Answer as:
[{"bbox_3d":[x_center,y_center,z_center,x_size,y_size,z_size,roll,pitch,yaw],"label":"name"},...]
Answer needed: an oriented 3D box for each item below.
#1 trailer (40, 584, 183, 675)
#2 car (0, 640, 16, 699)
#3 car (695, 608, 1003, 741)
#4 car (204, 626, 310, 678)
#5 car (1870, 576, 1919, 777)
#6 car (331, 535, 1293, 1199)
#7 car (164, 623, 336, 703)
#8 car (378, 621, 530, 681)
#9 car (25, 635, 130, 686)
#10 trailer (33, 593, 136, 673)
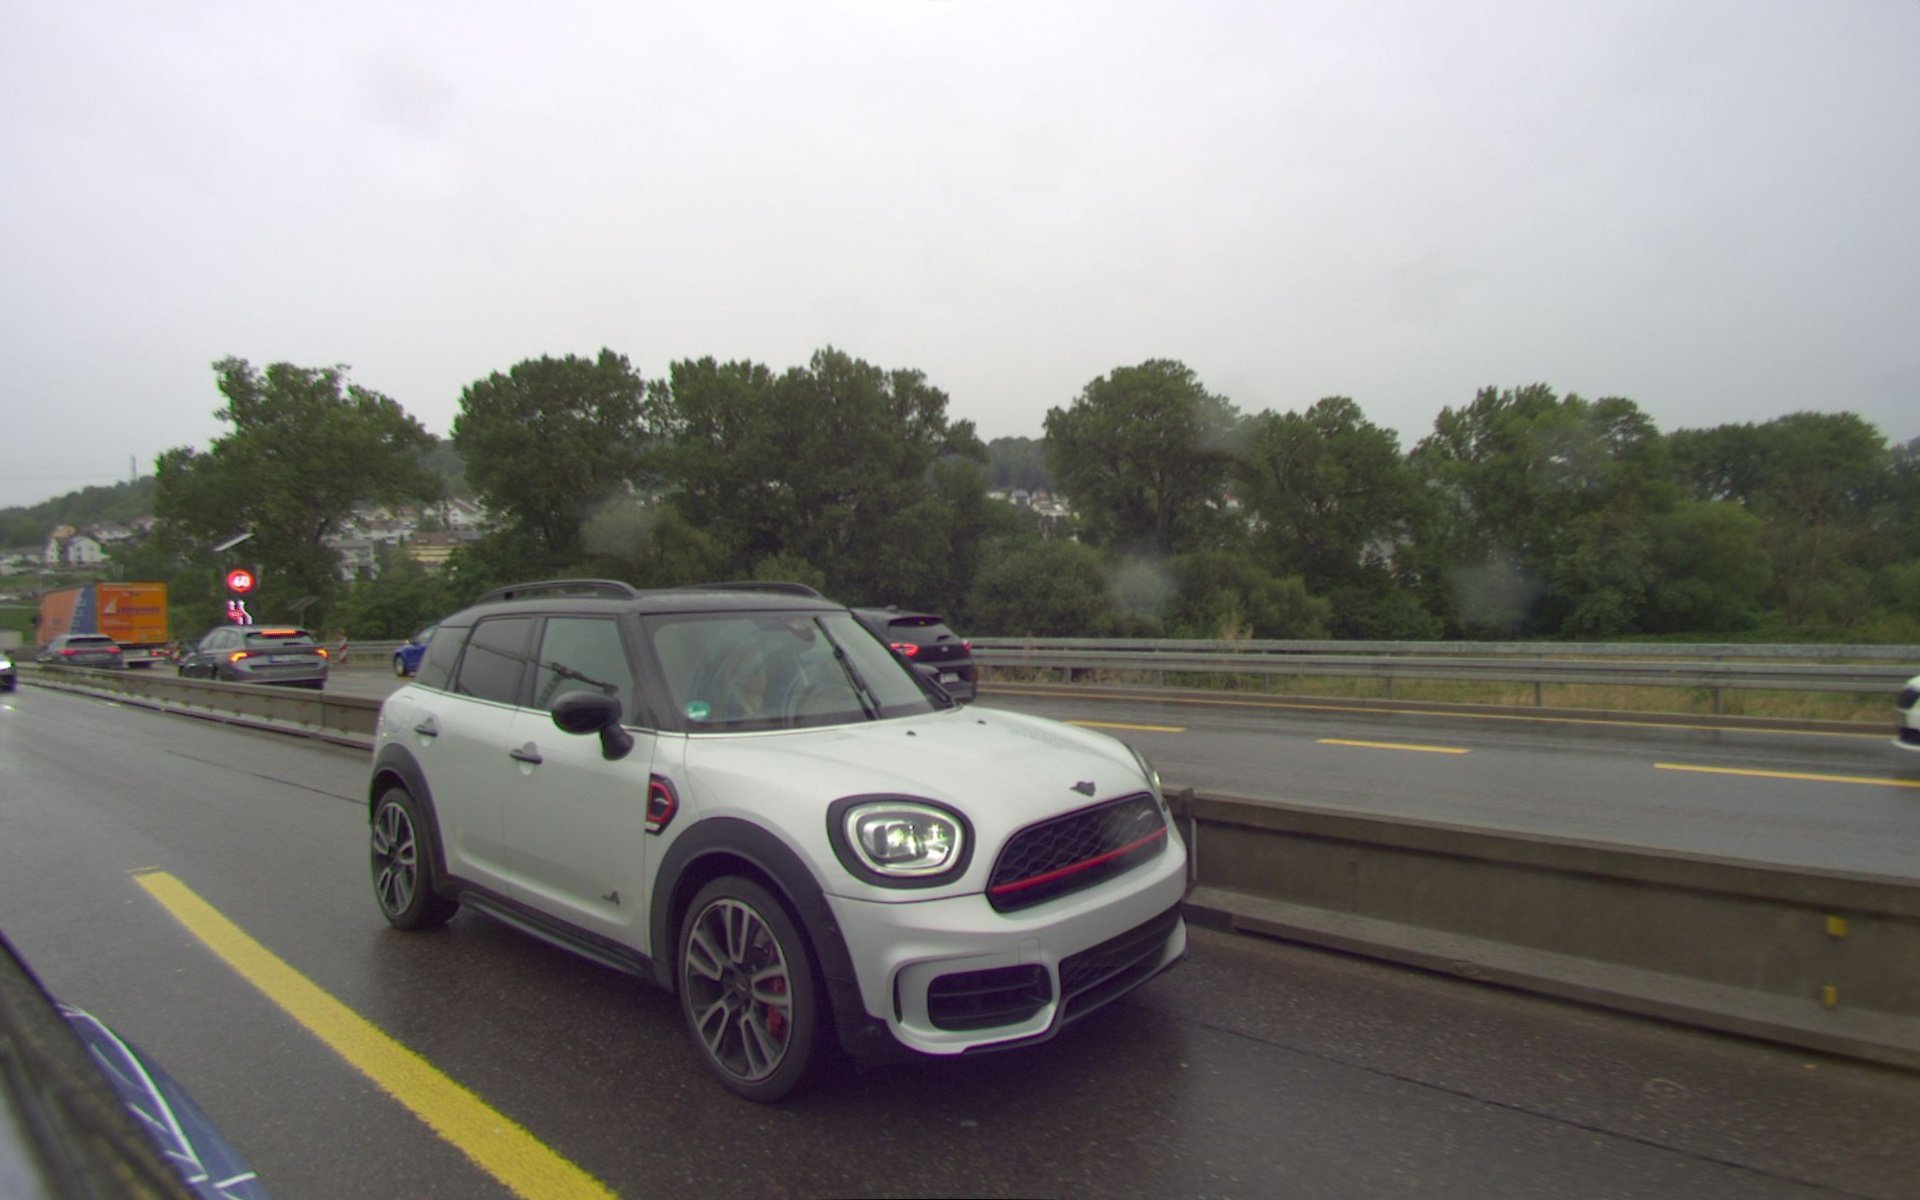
[{"bbox_3d":[-41.747,1.505,49.507,13.691,3.938,3.243,-3,-1,41],"label":"trailer"},{"bbox_3d":[-26.213,1.822,26.348,4.481,1.449,1.926,-2,-1,41],"label":"car"},{"bbox_3d":[-1.579,0.943,13.532,3.996,1.508,1.802,-3,-2,40],"label":"car"},{"bbox_3d":[-22.711,1.620,32.637,4.304,1.522,1.799,-2,-1,41],"label":"car"},{"bbox_3d":[9.790,0.558,7.489,4.260,1.588,1.830,-3,-3,35],"label":"car"},{"bbox_3d":[-1.005,0.710,4.447,4.305,1.612,1.797,-2,-1,41],"label":"car"},{"bbox_3d":[-14.522,1.268,20.611,4.409,1.460,1.887,-3,-4,41],"label":"car"},{"bbox_3d":[-14.328,1.386,28.531,4.739,1.522,1.975,-2,0,38],"label":"car"},{"bbox_3d":[-29.761,1.975,34.086,4.742,1.522,1.953,-2,0,40],"label":"car"},{"bbox_3d":[-46.415,1.730,53.606,6.348,3.948,3.236,-3,-1,41],"label":"trailer"}]
